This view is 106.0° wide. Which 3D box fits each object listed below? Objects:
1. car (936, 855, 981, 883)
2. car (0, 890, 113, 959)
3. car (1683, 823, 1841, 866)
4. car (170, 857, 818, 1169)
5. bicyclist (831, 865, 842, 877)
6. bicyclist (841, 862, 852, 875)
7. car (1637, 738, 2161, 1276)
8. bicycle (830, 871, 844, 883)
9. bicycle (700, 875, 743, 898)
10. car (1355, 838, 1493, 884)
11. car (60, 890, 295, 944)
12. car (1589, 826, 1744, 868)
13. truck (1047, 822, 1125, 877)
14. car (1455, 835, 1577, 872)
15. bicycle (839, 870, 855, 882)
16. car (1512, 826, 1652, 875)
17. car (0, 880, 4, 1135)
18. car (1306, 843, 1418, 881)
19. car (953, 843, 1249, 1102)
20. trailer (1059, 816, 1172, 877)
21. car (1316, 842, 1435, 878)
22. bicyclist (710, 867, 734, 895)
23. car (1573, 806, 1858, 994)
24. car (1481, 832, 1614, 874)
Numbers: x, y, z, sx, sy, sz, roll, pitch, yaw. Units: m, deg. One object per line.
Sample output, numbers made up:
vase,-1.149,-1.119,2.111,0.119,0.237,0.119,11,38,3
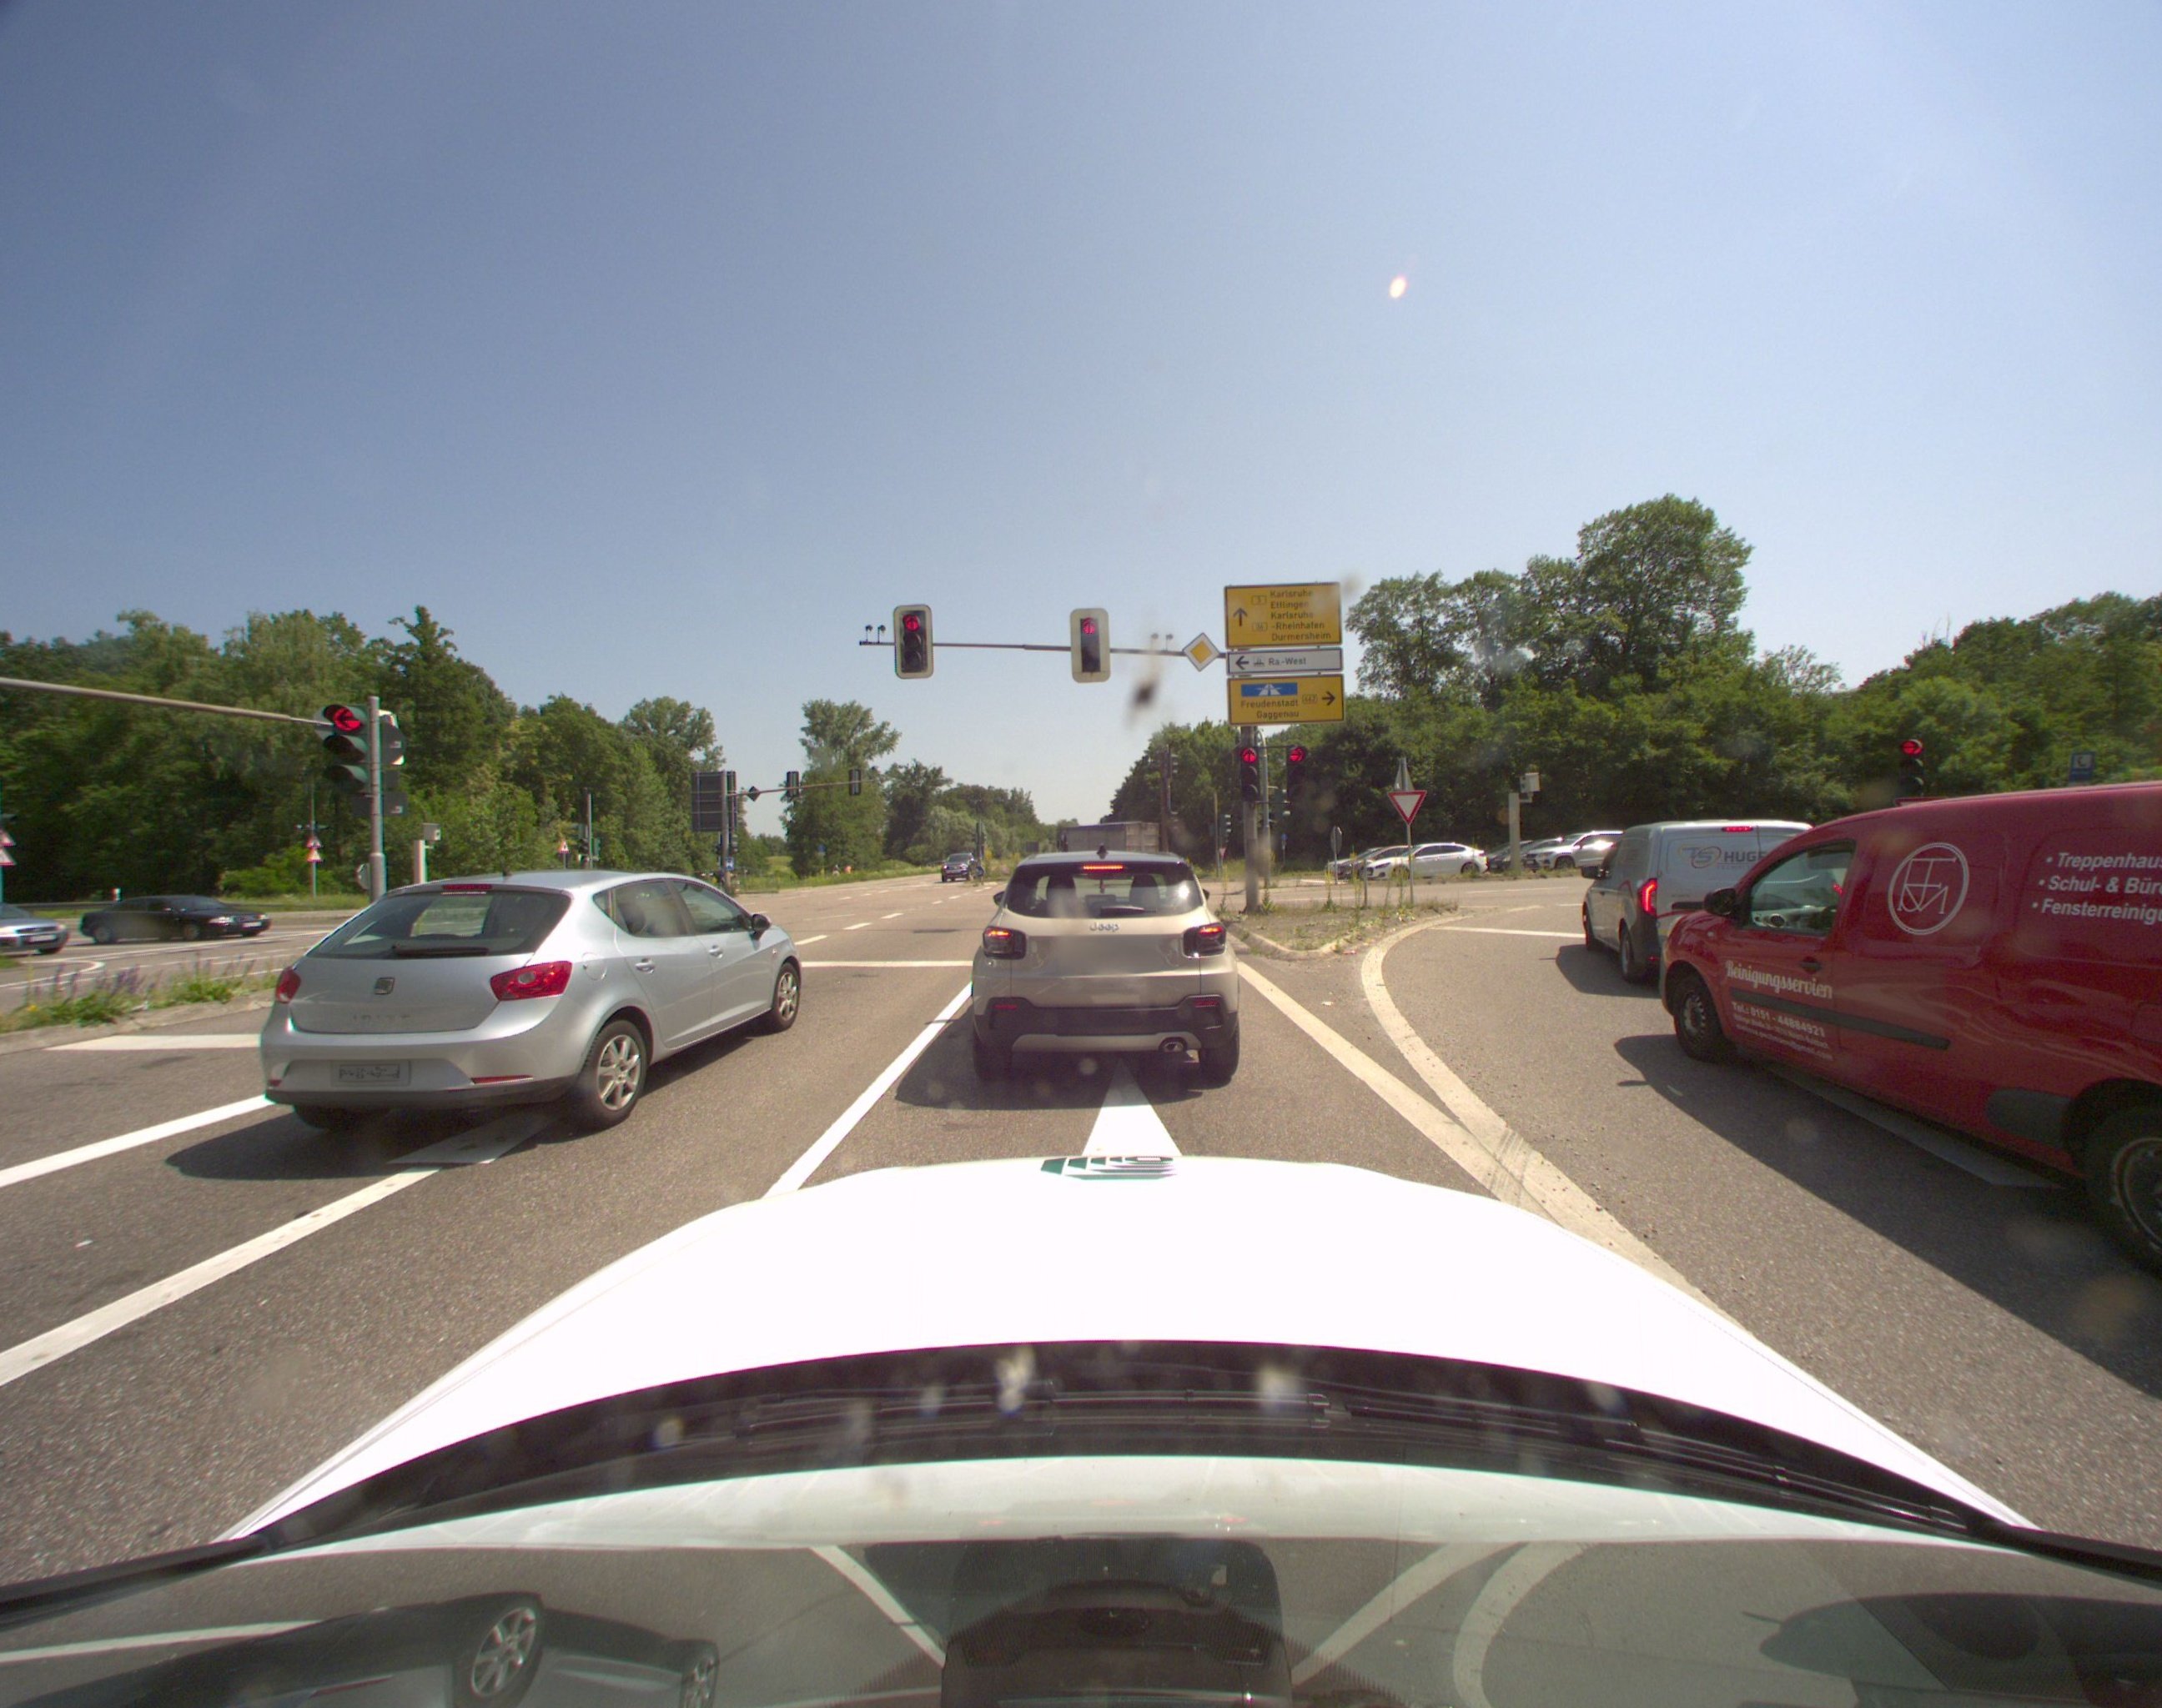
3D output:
car,-8.048,0.929,54.001,1.986,1.678,5.367,-3,0,2
car,-28.567,1.863,20.920,4.788,1.567,2.130,-2,0,0
car,26.040,-0.348,31.264,4.315,1.414,1.974,-3,-1,1
car,-3.349,0.746,5.692,1.659,1.430,3.830,0,0,2
bicyclist,-23.663,1.643,78.760,0.730,1.195,0.594,-3,-1,12
bicyclist,-22.636,1.408,78.607,0.752,1.195,0.594,-3,0,11
car,4.858,0.501,4.128,1.780,1.822,4.511,-1,0,12
bicycle,-23.600,2.214,78.778,0.600,1.006,1.560,-3,-1,12
bicycle,-18.710,1.688,42.439,0.715,1.063,1.881,-2,0,38
car,13.079,0.256,31.223,4.406,1.535,1.999,-2,0,-1
car,-27.325,1.881,24.766,4.788,1.290,2.106,-2,0,1
car,25.195,-0.291,35.184,5.111,1.533,2.138,-3,-1,1
truck,0.273,-0.302,62.954,3.352,3.989,6.474,0,-1,-28
car,20.328,0.011,38.217,4.600,1.498,2.112,-2,-1,1
bicycle,-22.606,2.123,78.570,0.672,1.005,1.806,-3,0,11
car,19.254,-0.116,31.451,4.157,1.659,2.000,-2,0,1
car,-6.761,0.848,2.427,1.759,1.391,4.014,0,0,-1
car,12.032,0.341,35.084,4.080,1.447,1.994,-2,0,-1
car,0.184,0.715,6.920,1.761,1.535,4.002,-1,0,2
trailer,2.240,-0.438,59.153,3.401,3.989,10.708,0,-1,-27
car,13.888,0.299,38.658,4.913,1.498,2.021,-2,-1,1
bicyclist,-18.697,1.409,42.416,0.914,1.459,0.721,-2,0,38
car,7.338,0.428,9.919,1.740,1.773,4.136,-2,0,24
car,19.693,-0.026,34.514,4.404,1.535,2.122,-2,-1,0
